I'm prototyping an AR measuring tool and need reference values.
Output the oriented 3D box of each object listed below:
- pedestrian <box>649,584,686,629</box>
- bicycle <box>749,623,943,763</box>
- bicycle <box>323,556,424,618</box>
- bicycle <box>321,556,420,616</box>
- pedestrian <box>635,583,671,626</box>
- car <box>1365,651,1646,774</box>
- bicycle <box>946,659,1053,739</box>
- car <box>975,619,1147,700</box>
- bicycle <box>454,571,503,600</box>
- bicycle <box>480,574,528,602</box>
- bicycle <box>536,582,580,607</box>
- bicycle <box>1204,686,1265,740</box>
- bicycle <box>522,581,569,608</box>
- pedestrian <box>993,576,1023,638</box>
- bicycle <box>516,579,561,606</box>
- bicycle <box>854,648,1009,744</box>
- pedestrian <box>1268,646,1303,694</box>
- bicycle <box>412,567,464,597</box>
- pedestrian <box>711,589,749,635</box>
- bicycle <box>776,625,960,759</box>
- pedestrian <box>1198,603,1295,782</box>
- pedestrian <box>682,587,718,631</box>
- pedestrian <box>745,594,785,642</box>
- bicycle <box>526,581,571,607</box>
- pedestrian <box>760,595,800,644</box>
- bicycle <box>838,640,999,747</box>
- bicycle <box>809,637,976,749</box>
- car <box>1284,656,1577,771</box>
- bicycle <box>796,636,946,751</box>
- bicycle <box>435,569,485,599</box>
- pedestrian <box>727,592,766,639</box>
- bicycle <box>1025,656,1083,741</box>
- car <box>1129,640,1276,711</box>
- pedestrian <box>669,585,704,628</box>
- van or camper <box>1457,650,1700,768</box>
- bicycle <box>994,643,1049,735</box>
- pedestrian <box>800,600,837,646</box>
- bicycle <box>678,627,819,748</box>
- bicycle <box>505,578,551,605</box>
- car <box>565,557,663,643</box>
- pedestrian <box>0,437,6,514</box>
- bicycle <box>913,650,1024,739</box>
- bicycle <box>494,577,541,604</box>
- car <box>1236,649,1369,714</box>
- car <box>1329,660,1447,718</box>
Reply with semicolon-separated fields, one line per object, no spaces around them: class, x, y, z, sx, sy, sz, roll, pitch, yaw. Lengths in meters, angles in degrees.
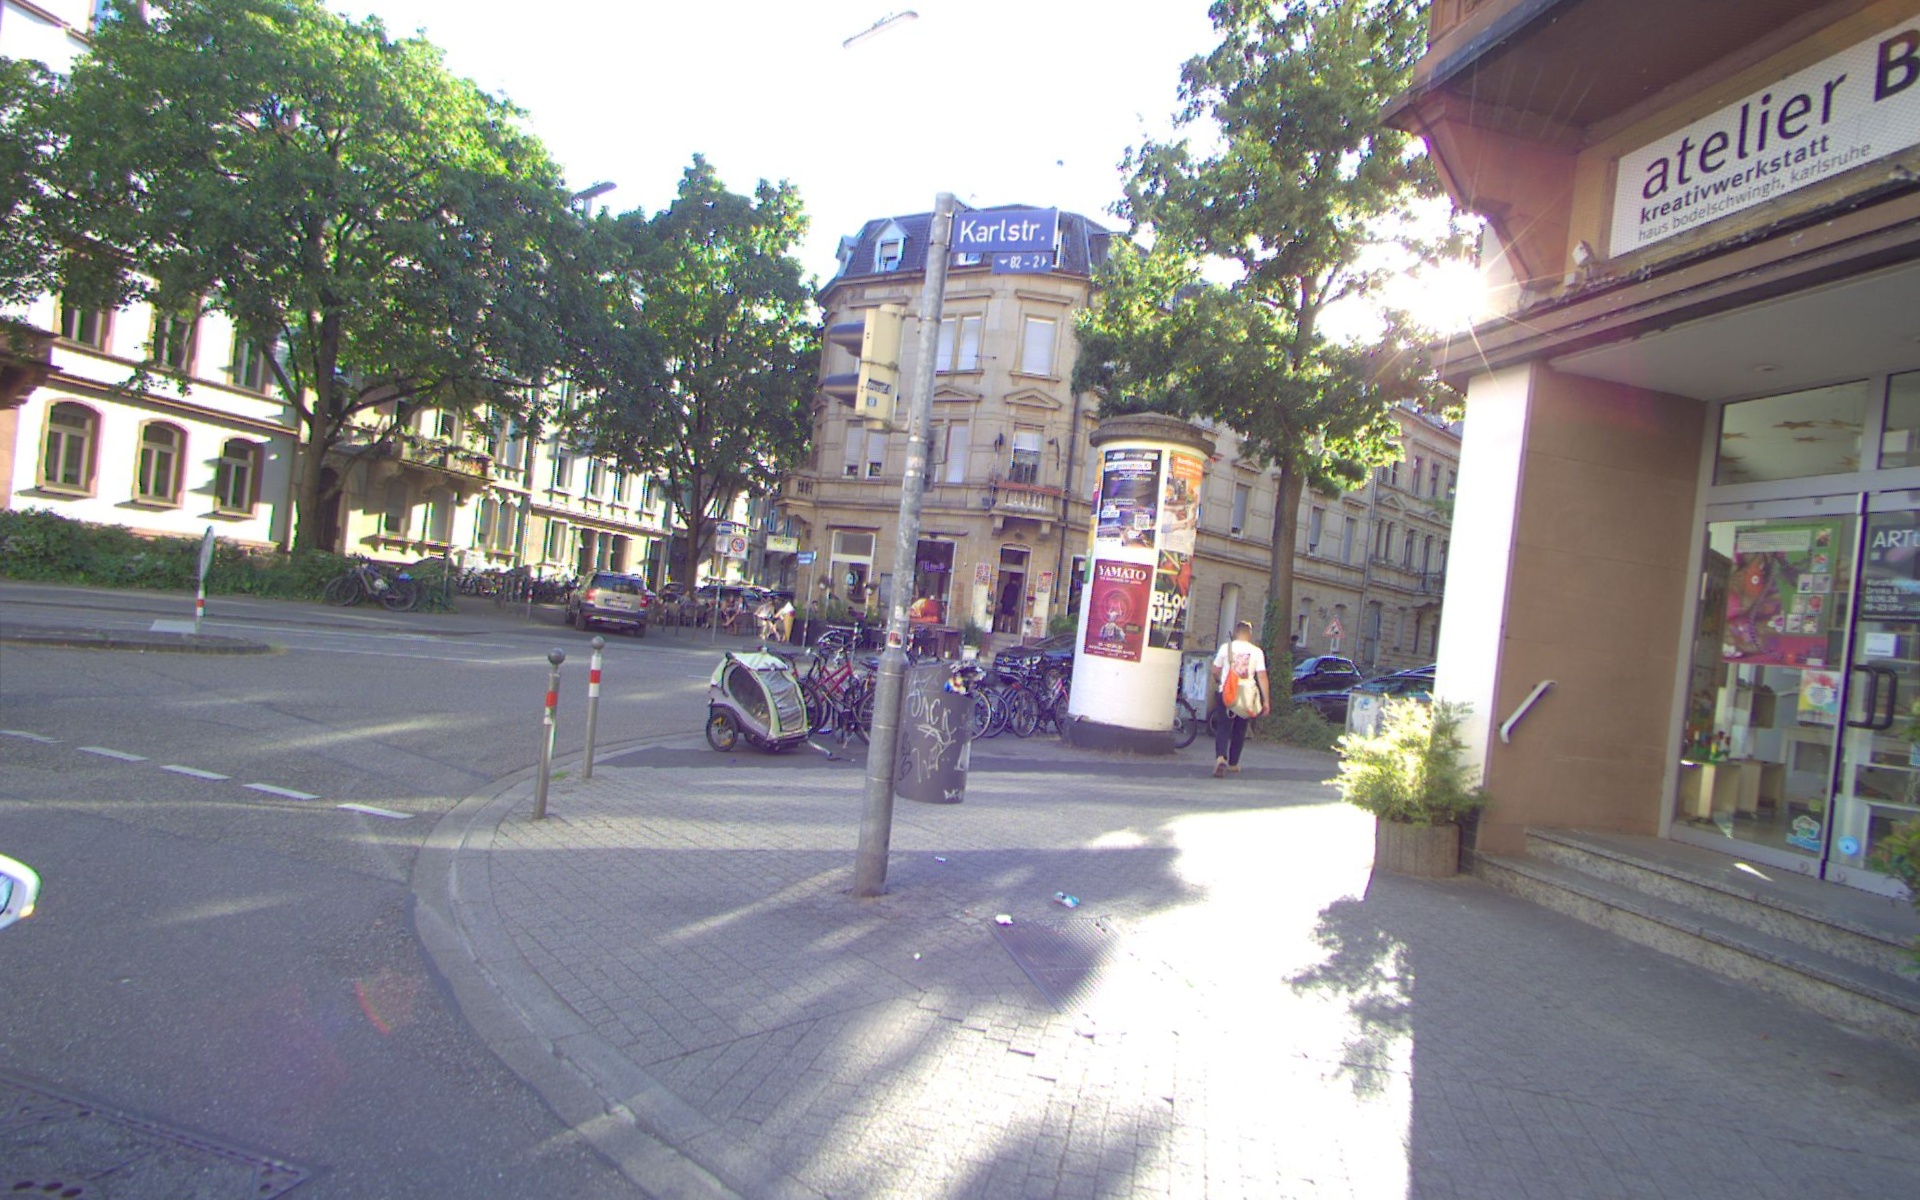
pedestrian;-9.999;0.214;34.353;0.907;1.448;0.756;2;3;-42
bicycle;-1.193;0.940;10.496;1.884;1.238;0.505;5;0;19
bicycle;-13.390;-0.289;22.992;1.849;1.176;0.553;7;1;-38
bicycle;-13.743;-0.314;23.472;1.849;1.176;0.553;7;1;-38
pedestrian;-10.720;0.155;35.080;0.908;1.448;0.756;2;3;-43
car;10.450;2.100;19.494;1.987;1.667;4.261;7;-1;-43
bicycle;0.554;1.381;14.205;1.380;0.961;0.450;5;0;27
car;2.579;1.526;25.363;3.961;1.593;1.787;7;-1;-34
bicycle;-18.369;-0.542;38.376;1.763;0.904;0.493;6;0;17
bicycle;-18.070;-0.467;39.862;1.763;0.904;0.493;6;0;17
bicycle;-17.282;-0.234;43.276;1.763;0.904;0.493;6;0;17
bicycle;4.526;1.851;16.540;1.128;0.768;0.394;1;3;-43
bicycle;-16.738;-0.208;40.660;0.485;0.904;1.795;6;-1;29
pedestrian;1.597;0.244;33.779;0.726;1.990;0.729;6;0;-4
bicycle;-17.659;-0.309;42.144;1.763;0.904;0.493;6;0;17
bicycle;-0.374;1.216;12.973;1.884;1.012;0.450;5;0;19
pedestrian;12.580;2.708;38.904;0.758;1.759;0.905;2;3;-38
bicycle;-18.994;-0.663;36.592;1.763;0.904;0.493;6;0;17
pedestrian;-7.633;0.411;33.329;0.908;1.448;0.756;2;3;-43
bicycle;-1.011;0.975;10.984;1.884;1.238;0.450;5;0;19
pedestrian;3.198;1.060;11.316;0.792;1.816;1.095;7;-6;14
pedestrian;-9.044;0.305;35.015;0.907;1.448;0.756;2;3;-42
pedestrian;-6.191;0.565;31.880;0.908;1.448;0.756;2;3;-43
bicycle;-17.445;-0.270;42.656;1.763;0.904;0.493;6;0;17
pedestrian;-5.593;0.613;31.227;0.907;1.448;0.756;2;3;-42
bicycle;-0.528;1.136;12.529;1.884;1.112;0.450;5;0;19
bicycle;-0.812;1.089;12.001;1.884;1.112;0.450;5;0;19
car;8.315;1.965;18.058;1.987;1.370;4.261;7;-1;-43
bicycle;-1.021;1.046;11.525;1.581;1.125;0.450;5;0;19
bicycle;-18.665;-0.599;37.539;1.763;0.904;0.493;6;0;17
pedestrian;-6.929;0.504;32.590;0.907;1.448;0.756;2;3;-42
bicycle;1.370;1.419;14.825;0.443;1.099;1.403;5;-1;-8
car;6.980;2.171;28.840;3.961;1.593;1.787;7;-1;-34
pedestrian;-9.755;0.236;35.912;0.908;1.448;0.756;2;3;-43
van or camper;14.114;2.437;23.125;1.987;2.010;4.261;7;-1;-43
bicycle;0.898;1.302;15.019;0.442;1.238;1.403;5;-1;-8
pedestrian;-4.702;0.773;33.377;0.760;1.448;0.903;1;4;-45
bicycle;-2.092;0.850;10.011;1.044;1.057;0.780;5;-1;24
bicycle;-17.822;-0.345;41.487;1.763;0.904;0.493;6;0;17
car;-9.654;-0.058;27.849;1.978;1.637;3.972;12;1;-25
pedestrian;-7.180;-0.216;6.833;0.658;1.932;0.692;5;0;20
bicycle;0.104;1.268;13.708;1.380;1.055;0.450;5;0;27
bicycle;-17.968;-0.379;40.826;1.763;0.904;0.493;6;0;17
car;10.706;2.547;31.411;3.961;1.593;1.787;7;-1;-34
car;14.869;3.099;34.878;3.961;1.593;1.787;7;-1;-34
